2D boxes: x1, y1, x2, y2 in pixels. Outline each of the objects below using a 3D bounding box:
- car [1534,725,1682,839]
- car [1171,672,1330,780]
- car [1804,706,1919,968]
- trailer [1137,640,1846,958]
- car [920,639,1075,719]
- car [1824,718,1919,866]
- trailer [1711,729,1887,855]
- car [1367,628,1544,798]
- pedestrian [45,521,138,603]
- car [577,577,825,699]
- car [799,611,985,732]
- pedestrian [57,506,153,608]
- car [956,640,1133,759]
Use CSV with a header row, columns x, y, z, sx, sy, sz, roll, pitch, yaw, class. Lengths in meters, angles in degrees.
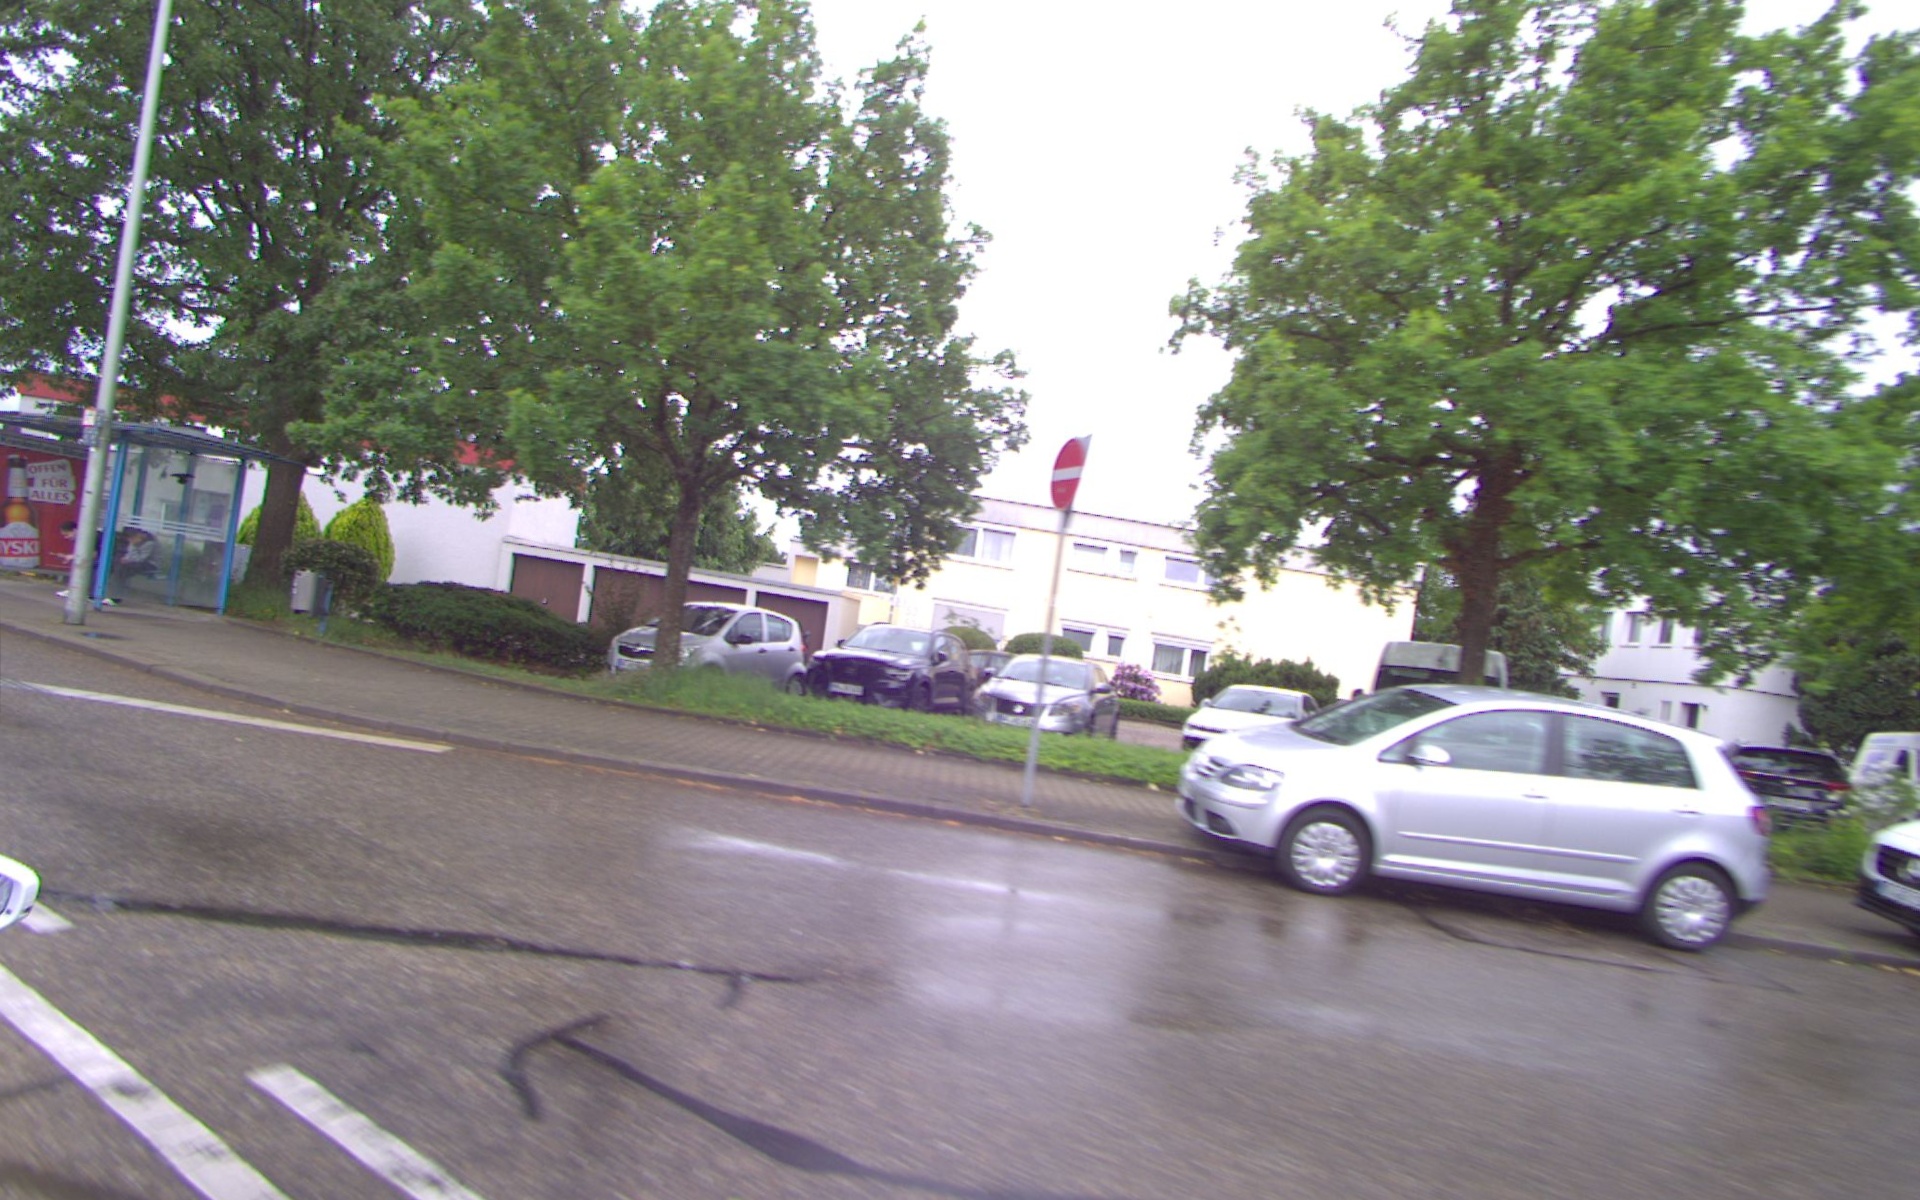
x,y,z,sx,sy,sz,roll,pitch,yaw,class
10.419,2.841,16.412,1.621,1.311,3.997,7,-2,29,car
4.937,2.017,16.704,1.818,1.311,4.000,7,-2,25,car
9.360,2.100,7.523,4.133,1.903,2.002,8,-1,5,car
3.796,1.396,7.877,4.344,1.561,2.001,8,-1,1,trailer
0.973,2.036,26.310,3.755,1.527,1.694,8,-2,2,car
15.775,3.092,15.942,1.965,2.037,4.761,7,-1,28,car
13.097,2.917,15.918,1.685,1.453,3.991,7,-2,36,trailer
7.985,1.740,16.500,1.964,2.037,5.838,7,-1,25,car
-12.259,-0.527,14.217,0.541,1.023,0.751,7,-1,27,pedestrian
-3.906,0.675,15.804,1.728,1.503,3.658,7,-2,24,car
-0.959,1.143,16.231,1.726,1.503,3.662,7,-2,15,car
-11.717,-0.585,13.804,0.541,1.265,0.729,7,-1,27,pedestrian
1.442,1.470,15.449,1.701,1.352,4.047,7,-2,18,car
